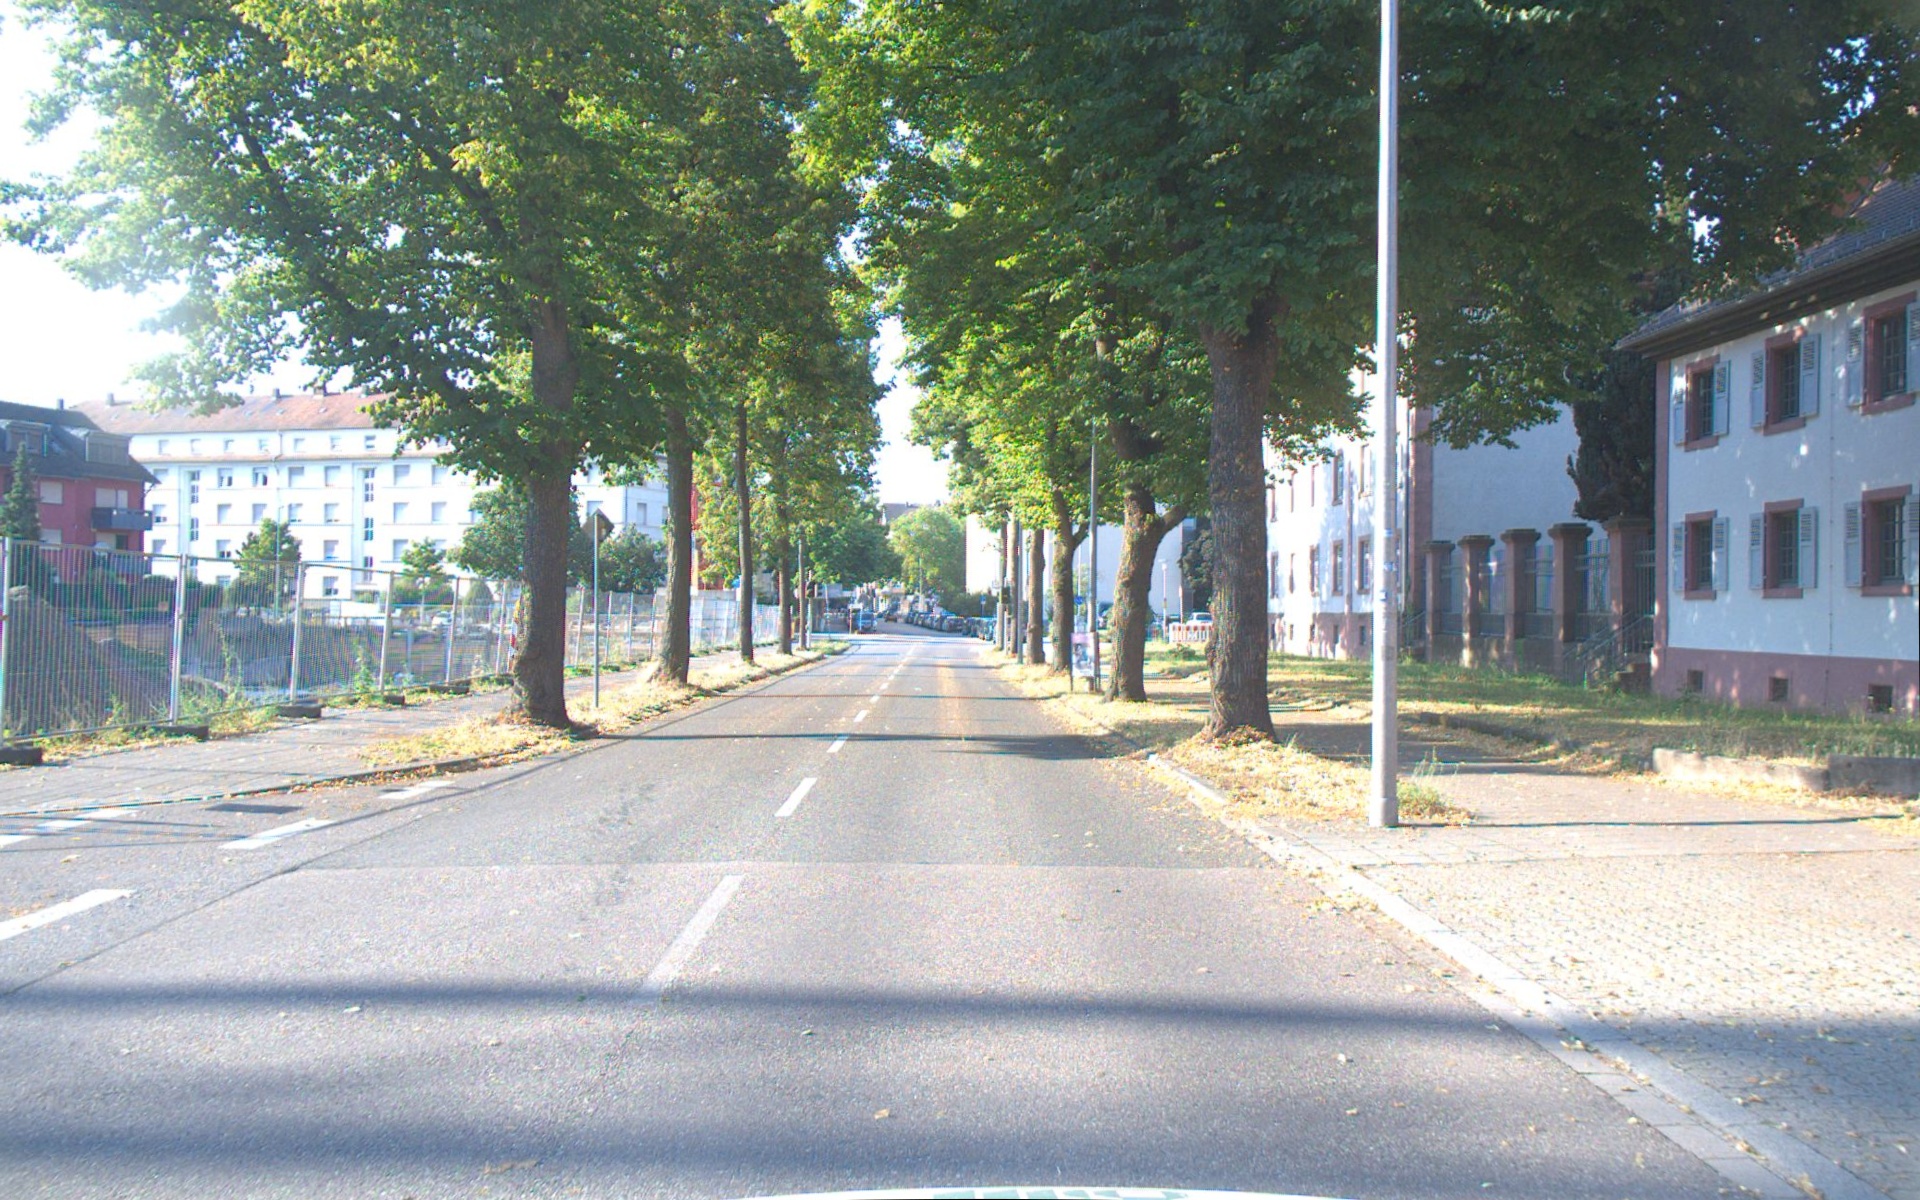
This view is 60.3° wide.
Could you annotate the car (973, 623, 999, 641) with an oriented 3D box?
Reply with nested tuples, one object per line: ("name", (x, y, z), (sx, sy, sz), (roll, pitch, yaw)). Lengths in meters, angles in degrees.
("car", (2.043, 2.534, 131.092), (1.804, 1.283, 3.999), (-2, -1, -1))

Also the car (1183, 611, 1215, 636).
("car", (16.686, 1.669, 115.720), (1.775, 1.587, 3.626), (2, -2, 1))

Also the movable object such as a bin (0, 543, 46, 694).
("movable object such as a bin", (-35.097, 0.663, 52.303), (2.948, 5.080, 11.561), (-2, -1, 21))

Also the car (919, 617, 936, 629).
("car", (-3.898, 2.817, 199.484), (1.805, 1.410, 3.996), (0, -1, -4))

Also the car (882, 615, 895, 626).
("car", (-10.337, 2.953, 238.997), (1.680, 1.512, 3.996), (0, -1, -4))

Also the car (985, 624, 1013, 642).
("car", (2.711, 2.298, 114.922), (1.743, 1.248, 3.998), (0, -1, -1))

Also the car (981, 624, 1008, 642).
("car", (2.485, 2.386, 120.608), (1.804, 1.283, 3.998), (0, -1, -1))

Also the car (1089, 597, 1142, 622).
("car", (12.053, 0.754, 128.545), (3.905, 1.758, 1.772), (2, -1, 0))

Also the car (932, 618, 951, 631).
("car", (-1.969, 2.651, 179.102), (1.805, 1.410, 3.996), (0, -1, -4))

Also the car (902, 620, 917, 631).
("car", (-6.999, 3.584, 228.795), (1.806, 1.410, 3.994), (-2, -1, -6))

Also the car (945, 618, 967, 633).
("car", (-0.391, 2.372, 155.839), (1.805, 1.410, 3.996), (0, 0, -4))

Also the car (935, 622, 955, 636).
("car", (-1.509, 2.969, 166.997), (1.805, 1.410, 3.996), (0, -1, -4))

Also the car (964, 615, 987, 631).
("car", (1.281, 1.908, 137.887), (1.804, 1.283, 3.998), (0, -1, -1))

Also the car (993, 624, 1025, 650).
("car", (3.029, 2.300, 103.876), (1.804, 1.601, 3.998), (0, -1, -1))

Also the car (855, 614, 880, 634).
("car", (-8.027, 2.070, 142.880), (1.955, 1.717, 3.994), (0, -1, -6))
